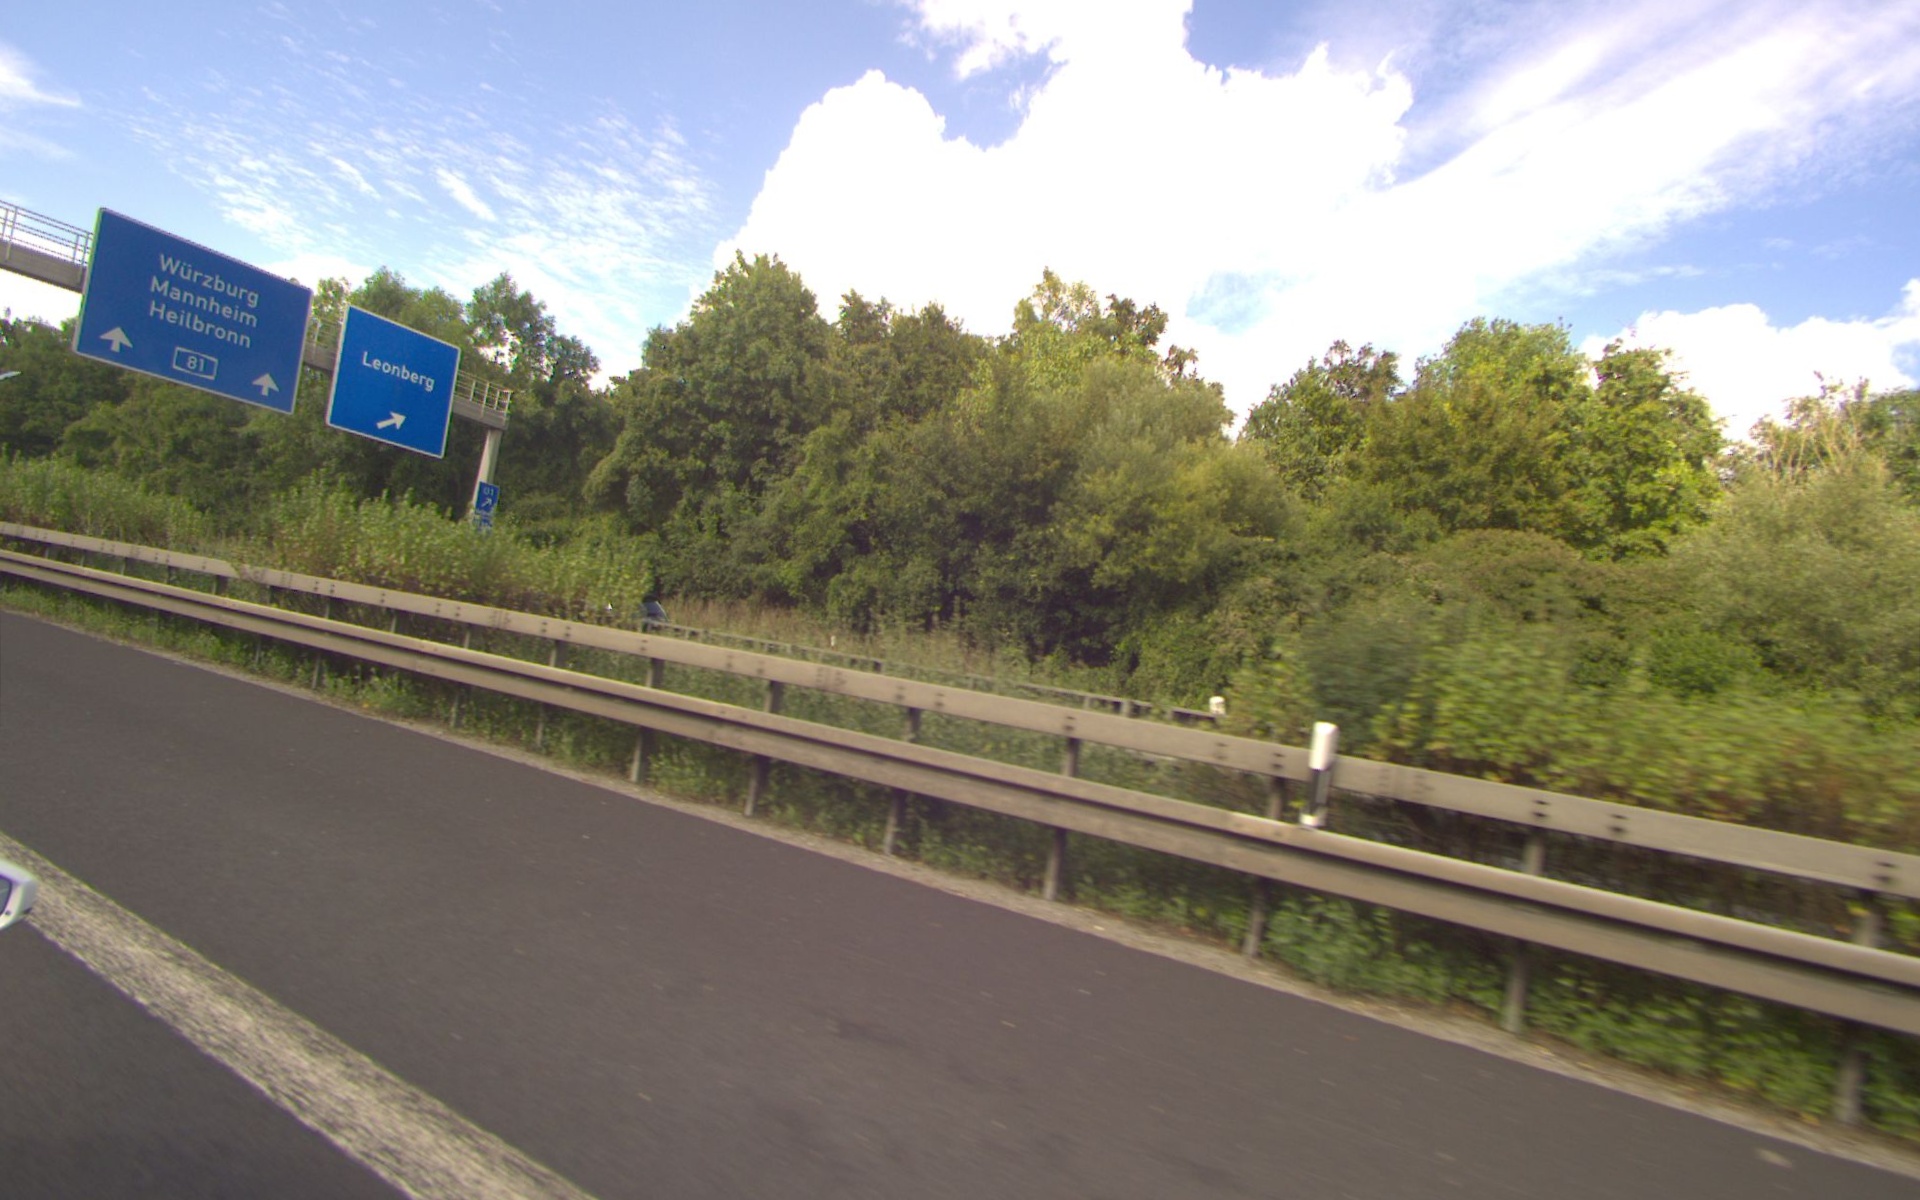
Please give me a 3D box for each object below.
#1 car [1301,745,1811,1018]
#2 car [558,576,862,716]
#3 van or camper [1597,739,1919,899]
[{"bbox_3d":[5.715,2.576,10.079,3.934,1.527,1.771,7,-2,32],"label":"car"},{"bbox_3d":[-4.077,0.725,16.252,4.595,1.536,1.789,8,-2,28],"label":"car"},{"bbox_3d":[13.016,3.307,14.528,6.249,1.527,1.771,7,-2,32],"label":"van or camper"}]
